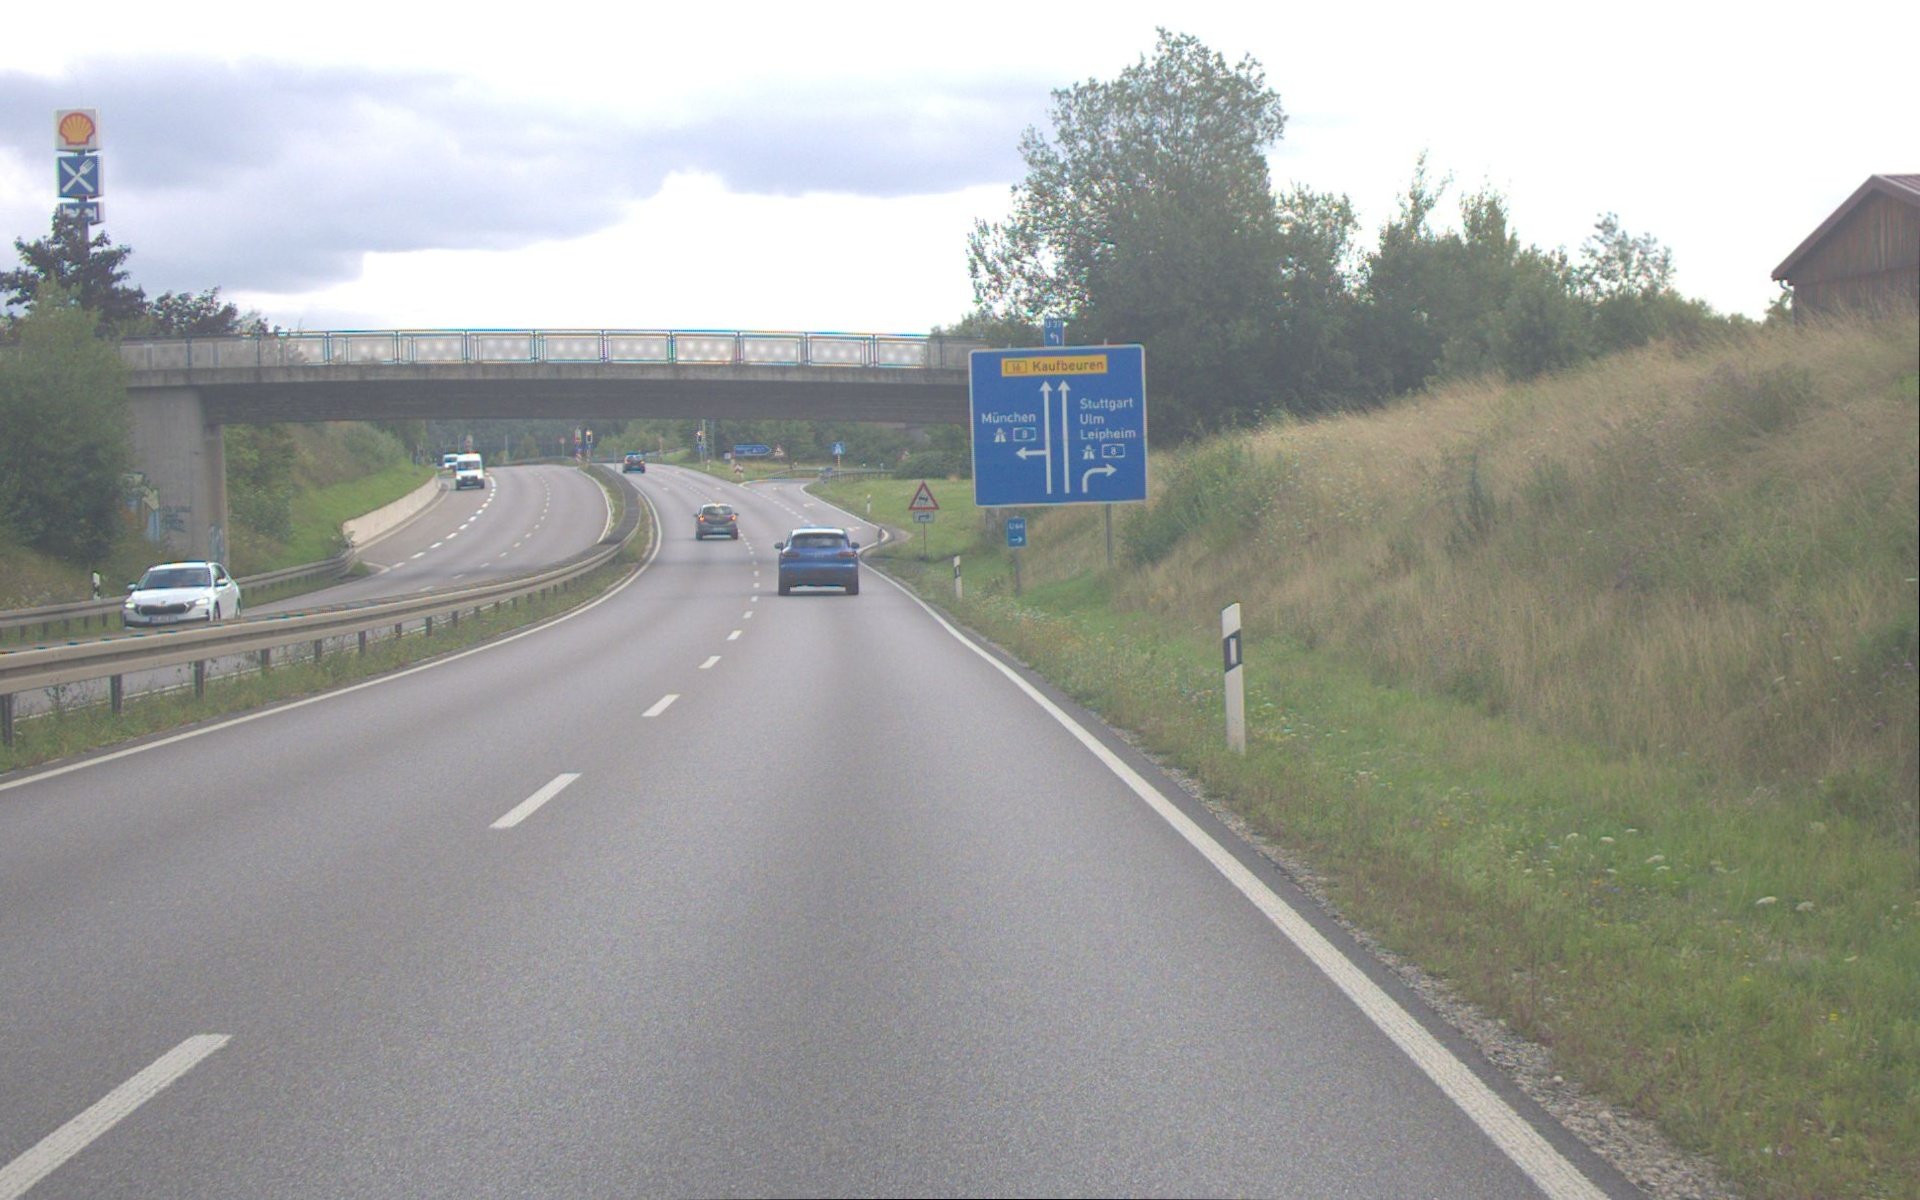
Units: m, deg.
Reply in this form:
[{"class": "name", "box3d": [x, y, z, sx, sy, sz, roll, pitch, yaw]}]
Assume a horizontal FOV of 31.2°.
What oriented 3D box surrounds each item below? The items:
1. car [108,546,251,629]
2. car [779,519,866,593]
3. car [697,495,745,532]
[{"class": "car", "box3d": [-15.438, -0.267, 68.159, 1.993, 1.448, 4.001, -1, 2, -2]}, {"class": "car", "box3d": [-3.336, -1.090, 83.536, 2.033, 1.654, 4.544, 0, 3, -2]}, {"class": "car", "box3d": [-10.060, -3.660, 145.166, 1.917, 1.448, 4.365, -1, 2, -3]}]
